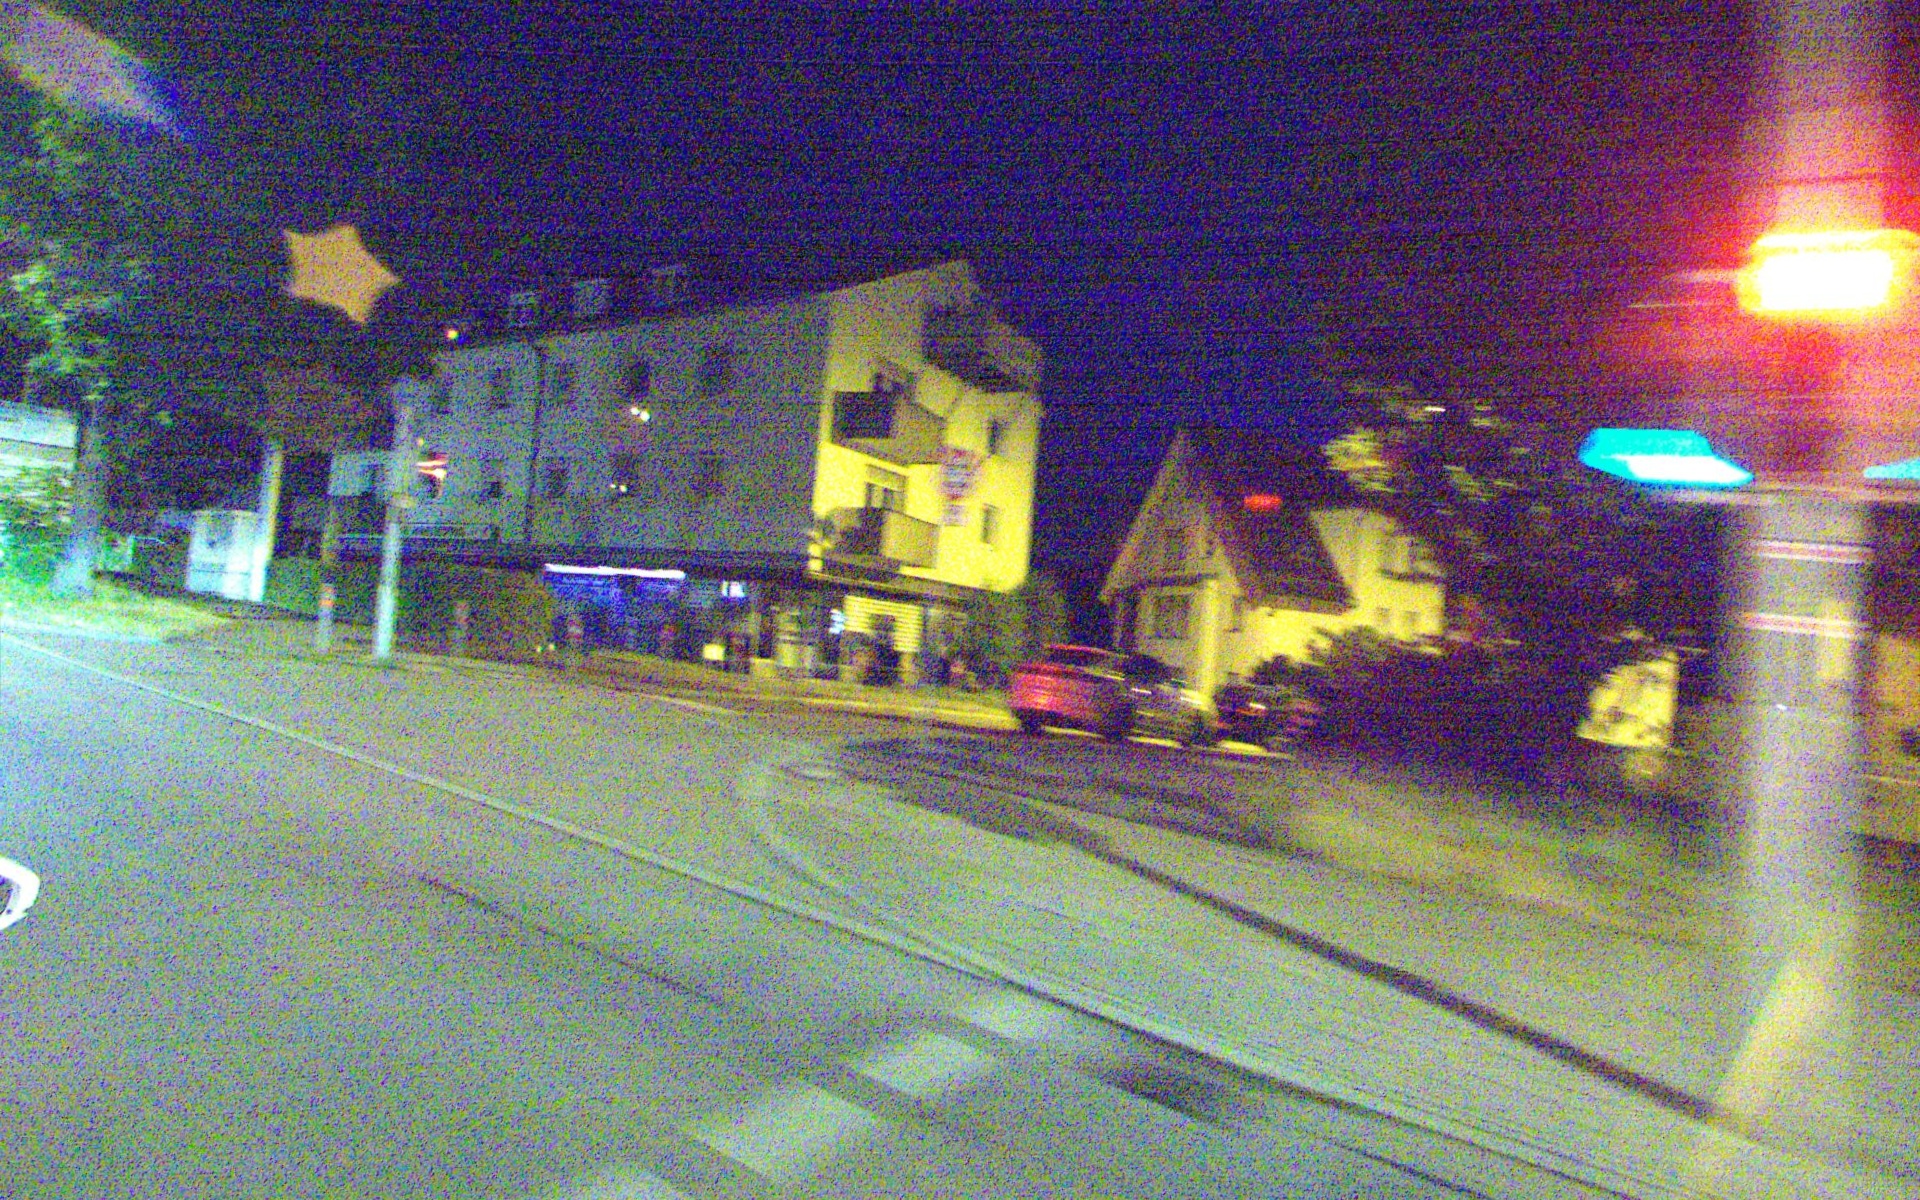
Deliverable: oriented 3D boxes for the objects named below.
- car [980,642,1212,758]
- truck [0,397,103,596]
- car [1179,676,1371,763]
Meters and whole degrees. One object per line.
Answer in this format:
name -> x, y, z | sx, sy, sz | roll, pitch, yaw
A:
car -> 2.523, 1.824, 17.807 | 2.024, 1.572, 4.242 | 5, -4, 40
truck -> -18.292, -2.001, 17.659 | 6.919, 3.082, 2.767 | 6, 0, 31
car -> 6.862, 2.596, 21.756 | 4.044, 1.402, 1.863 | 10, -5, -36
